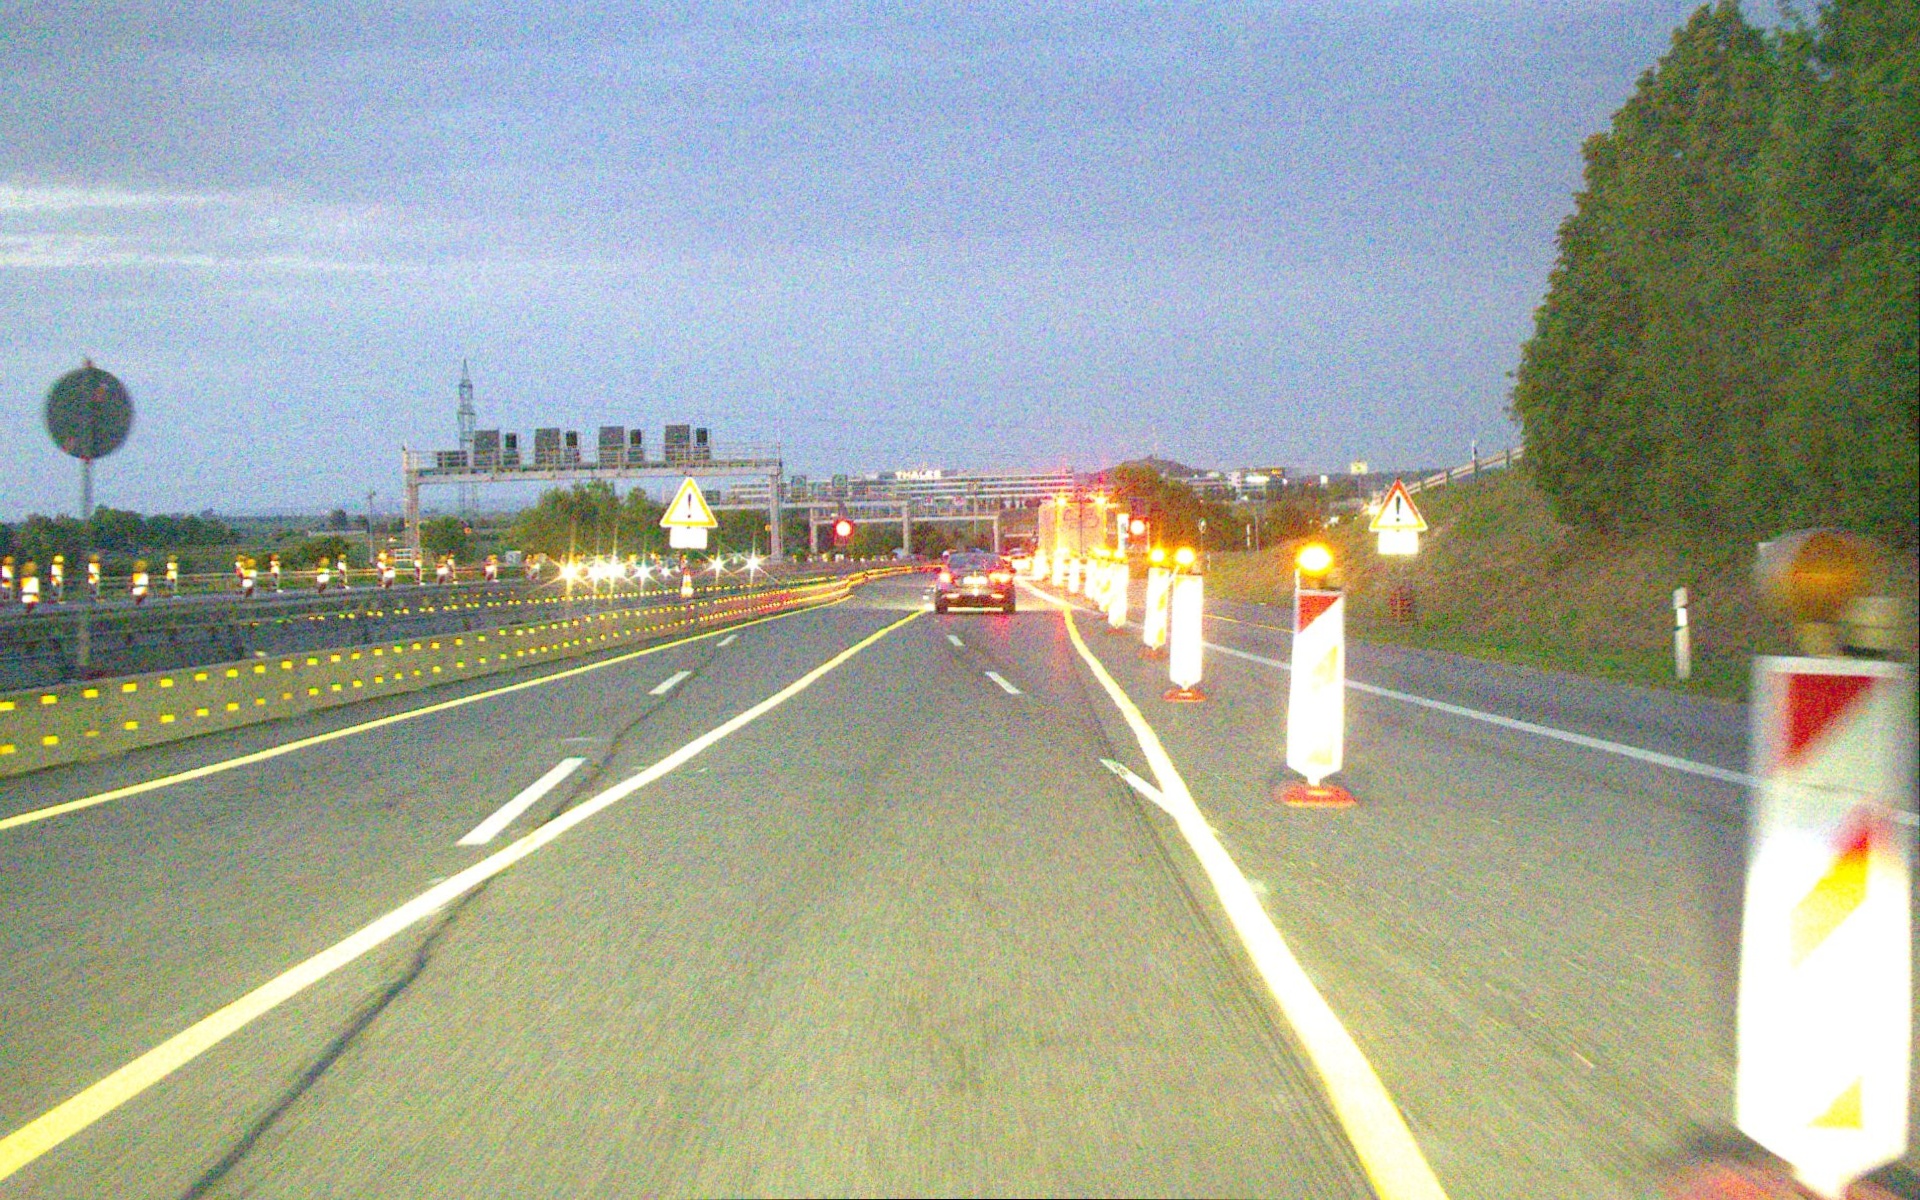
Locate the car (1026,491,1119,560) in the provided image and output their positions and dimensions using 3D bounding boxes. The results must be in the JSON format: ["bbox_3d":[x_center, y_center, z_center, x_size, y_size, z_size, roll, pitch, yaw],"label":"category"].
[{"bbox_3d":[5.650,-3.771,174.145,3.604,3.384,8.016,-1,1,-6],"label":"car"}]

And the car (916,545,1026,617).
[{"bbox_3d":[0.229,-0.463,80.902,2.265,1.616,4.001,1,1,-4],"label":"car"}]

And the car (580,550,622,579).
[{"bbox_3d":[-20.030,-1.971,191.943,1.763,1.543,4.425,1,1,1],"label":"car"}]

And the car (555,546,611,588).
[{"bbox_3d":[-16.892,-1.484,154.239,1.993,1.821,4.000,1,1,0],"label":"car"}]

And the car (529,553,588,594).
[{"bbox_3d":[-17.136,-1.129,146.853,1.993,1.708,4.000,1,1,0],"label":"car"}]

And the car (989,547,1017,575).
[{"bbox_3d":[3.202,-2.892,256.287,1.993,2.007,4.000,1,1,0],"label":"car"}]
